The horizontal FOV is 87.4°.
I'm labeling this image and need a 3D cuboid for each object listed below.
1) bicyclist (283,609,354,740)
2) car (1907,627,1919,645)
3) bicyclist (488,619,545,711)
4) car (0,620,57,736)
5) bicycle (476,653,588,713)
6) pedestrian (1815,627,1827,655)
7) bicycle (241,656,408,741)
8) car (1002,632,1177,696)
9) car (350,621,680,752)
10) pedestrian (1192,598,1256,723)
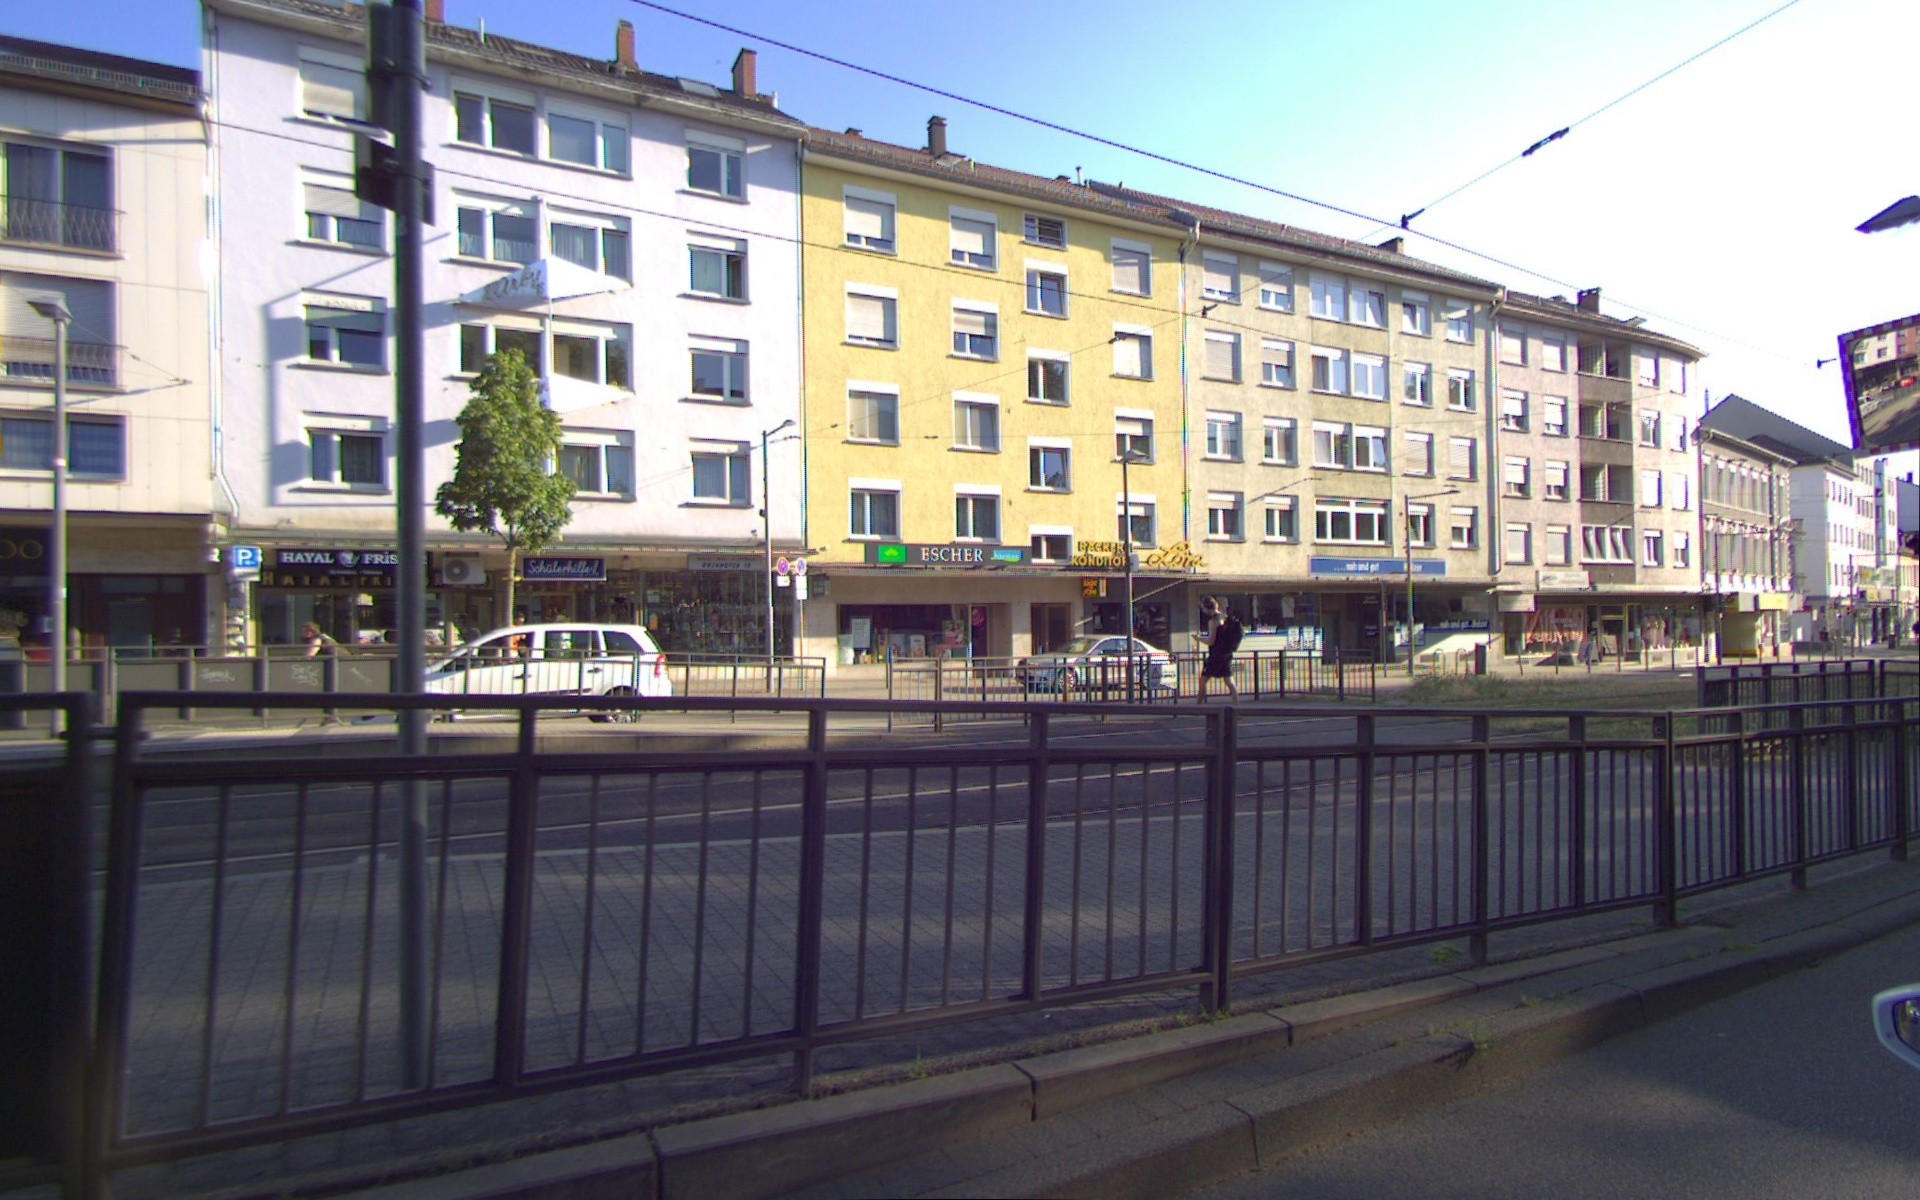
[{"bbox_3d":[-10.386,1.183,16.288,0.900,2.040,0.761,0,-2,-29],"label":"bicyclist"},{"bbox_3d":[78.396,2.867,79.560,4.462,1.431,2.000,-1,-2,19],"label":"car"},{"bbox_3d":[-9.499,1.383,21.525,1.041,1.911,0.692,-1,-2,-20],"label":"bicyclist"},{"bbox_3d":[-17.359,1.241,16.521,3.693,1.824,1.865,1,1,11],"label":"car"},{"bbox_3d":[-9.172,1.761,21.629,2.165,1.174,0.705,-1,-1,-20],"label":"bicycle"},{"bbox_3d":[54.933,2.621,64.058,0.502,1.736,0.424,1,-2,-31],"label":"pedestrian"},{"bbox_3d":[-10.266,1.571,16.342,2.250,1.246,0.715,0,-2,-29],"label":"bicycle"},{"bbox_3d":[3.472,1.656,26.777,4.360,1.498,1.983,1,0,-31],"label":"car"},{"bbox_3d":[-6.742,1.208,15.412,4.382,1.739,1.985,0,-2,-29],"label":"car"},{"bbox_3d":[4.065,0.913,15.477,0.583,1.873,0.737,0,-1,-33],"label":"pedestrian"}]
